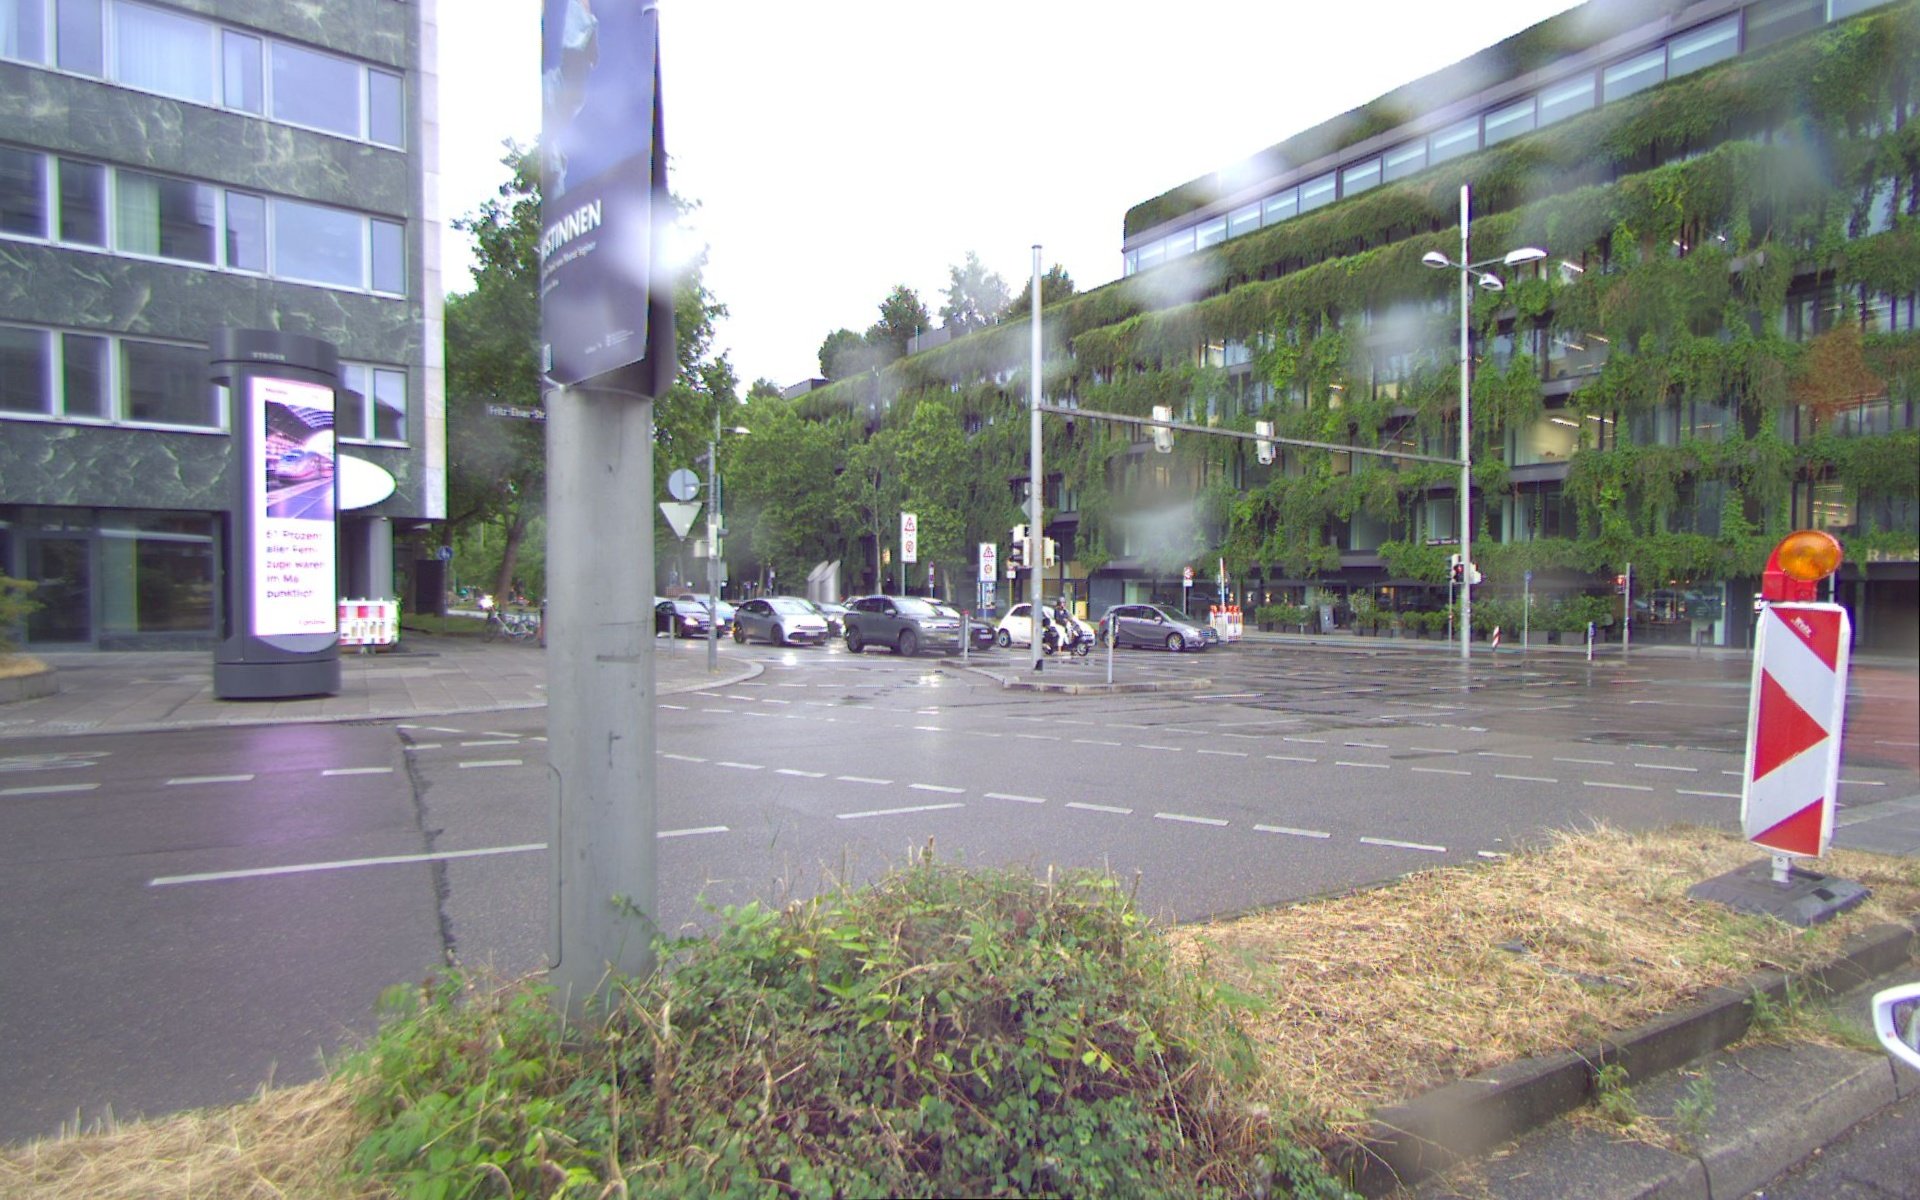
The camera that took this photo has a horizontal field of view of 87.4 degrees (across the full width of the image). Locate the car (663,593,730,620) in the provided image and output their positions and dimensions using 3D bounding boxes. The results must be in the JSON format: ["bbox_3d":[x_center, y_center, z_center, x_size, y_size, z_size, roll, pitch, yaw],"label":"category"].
[{"bbox_3d":[-13.922,0.338,52.927,1.982,1.389,4.131,1,0,-37],"label":"car"}]

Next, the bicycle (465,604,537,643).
[{"bbox_3d":[-12.968,0.664,28.414,1.765,1.066,0.581,1,0,-35],"label":"bicycle"}]

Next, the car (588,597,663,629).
[{"bbox_3d":[-15.027,0.567,45.038,1.982,1.389,4.131,1,0,-37],"label":"car"}]

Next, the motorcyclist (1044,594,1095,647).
[{"bbox_3d":[3.160,0.583,28.980,1.153,1.492,0.832,2,0,40],"label":"motorcyclist"}]

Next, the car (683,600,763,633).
[{"bbox_3d":[-10.667,0.699,45.025,1.982,1.389,4.131,1,0,-37],"label":"car"}]

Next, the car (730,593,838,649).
[{"bbox_3d":[-6.010,0.673,34.038,1.982,1.773,3.956,1,0,-38],"label":"car"}]

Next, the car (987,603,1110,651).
[{"bbox_3d":[2.881,0.858,33.468,1.981,1.495,3.958,1,0,-37],"label":"car"}]

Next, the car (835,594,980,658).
[{"bbox_3d":[-1.602,0.702,29.167,1.984,1.709,4.314,1,0,-41],"label":"car"}]

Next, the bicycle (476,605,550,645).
[{"bbox_3d":[-12.289,0.679,27.637,1.765,1.066,0.581,1,0,-35],"label":"bicycle"}]

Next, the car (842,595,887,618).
[{"bbox_3d":[-7.360,0.492,77.249,1.783,1.588,3.962,2,0,-34],"label":"car"}]

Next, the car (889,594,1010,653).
[{"bbox_3d":[-0.401,0.710,32.573,1.981,1.773,3.958,1,0,-37],"label":"car"}]

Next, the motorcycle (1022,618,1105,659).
[{"bbox_3d":[2.988,1.087,29.119,2.331,1.068,0.830,2,0,41],"label":"motorcycle"}]

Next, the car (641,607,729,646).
[{"bbox_3d":[-10.893,1.004,39.627,1.982,1.389,4.131,1,0,-37],"label":"car"}]

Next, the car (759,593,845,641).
[{"bbox_3d":[-6.284,0.652,39.672,1.841,1.791,4.139,1,0,-32],"label":"car"}]

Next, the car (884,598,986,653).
[{"bbox_3d":[-1.002,0.914,37.767,1.978,1.923,4.139,1,0,-33],"label":"car"}]

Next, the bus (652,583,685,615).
[{"bbox_3d":[-32.014,-0.151,110.235,1.783,3.385,5.922,2,0,-34],"label":"bus"}]

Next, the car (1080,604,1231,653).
[{"bbox_3d":[6.627,0.935,34.413,4.842,1.508,1.922,1,0,45],"label":"car"}]
